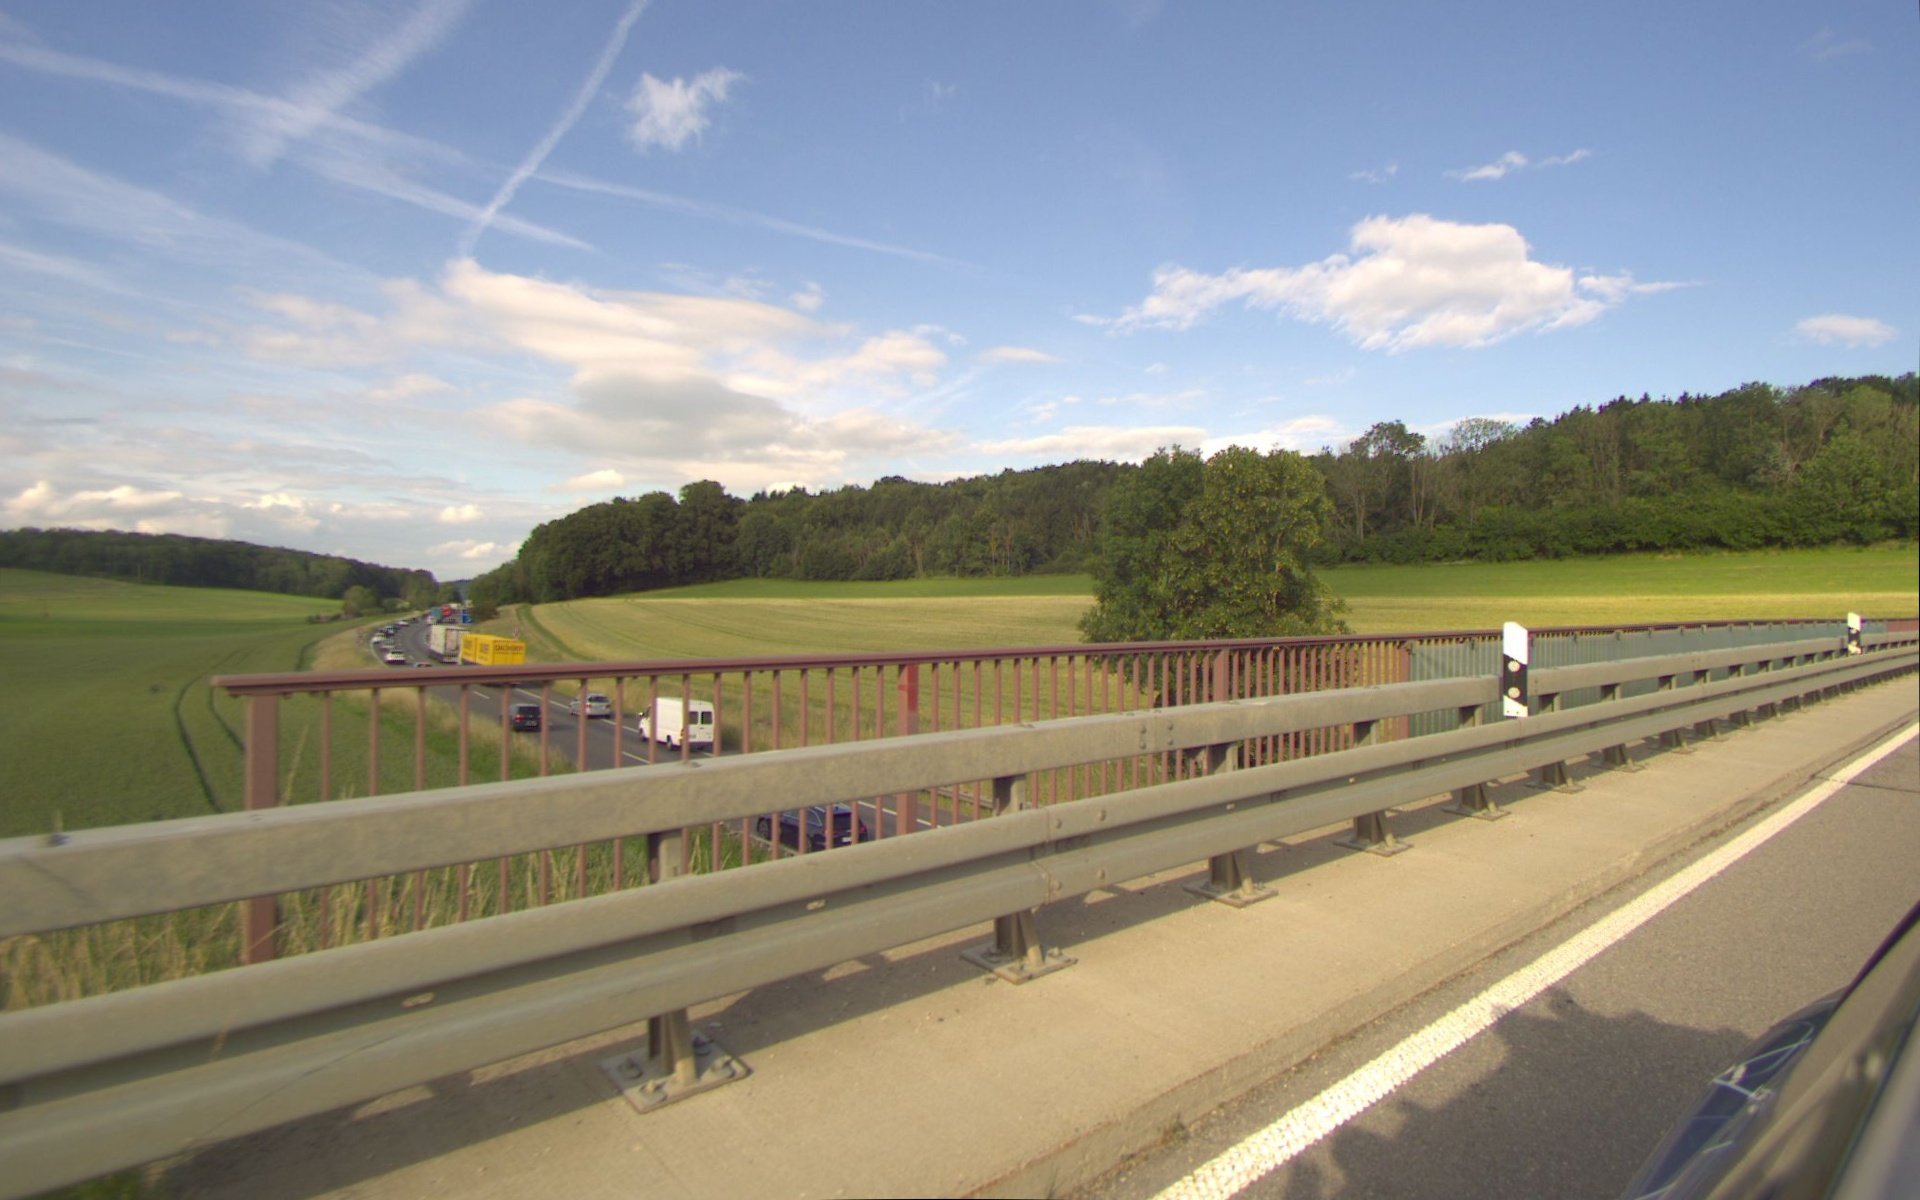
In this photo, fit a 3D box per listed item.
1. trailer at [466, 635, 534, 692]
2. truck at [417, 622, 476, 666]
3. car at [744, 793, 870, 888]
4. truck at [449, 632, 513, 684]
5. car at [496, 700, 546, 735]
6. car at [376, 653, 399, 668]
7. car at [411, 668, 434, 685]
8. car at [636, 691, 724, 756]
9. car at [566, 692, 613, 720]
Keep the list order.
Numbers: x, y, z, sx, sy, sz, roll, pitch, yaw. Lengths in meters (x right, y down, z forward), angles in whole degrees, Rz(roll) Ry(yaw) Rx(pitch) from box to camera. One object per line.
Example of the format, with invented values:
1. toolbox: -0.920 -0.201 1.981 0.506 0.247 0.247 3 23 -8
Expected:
1. trailer: -39.545 5.305 86.746 3.764 4.111 9.130 -2 1 -34
2. truck: -60.021 4.988 118.028 4.004 4.045 14.425 -4 3 -35
3. car: -4.685 7.155 30.539 1.746 1.723 4.368 -1 1 -40
4. truck: -44.807 5.312 94.475 3.765 4.111 9.802 -2 1 -35
5. car: -24.642 6.552 56.764 1.652 1.539 3.996 1 -1 -38
6. car: -60.789 6.372 107.426 1.578 1.412 3.325 1 -1 -38
7. car: -47.373 6.707 89.221 1.352 1.284 3.098 1 -1 -35
8. car: -14.652 6.368 52.651 2.328 2.618 6.123 6 -3 -35
9. car: -24.122 6.884 65.783 1.769 1.488 3.998 3 -3 -37
